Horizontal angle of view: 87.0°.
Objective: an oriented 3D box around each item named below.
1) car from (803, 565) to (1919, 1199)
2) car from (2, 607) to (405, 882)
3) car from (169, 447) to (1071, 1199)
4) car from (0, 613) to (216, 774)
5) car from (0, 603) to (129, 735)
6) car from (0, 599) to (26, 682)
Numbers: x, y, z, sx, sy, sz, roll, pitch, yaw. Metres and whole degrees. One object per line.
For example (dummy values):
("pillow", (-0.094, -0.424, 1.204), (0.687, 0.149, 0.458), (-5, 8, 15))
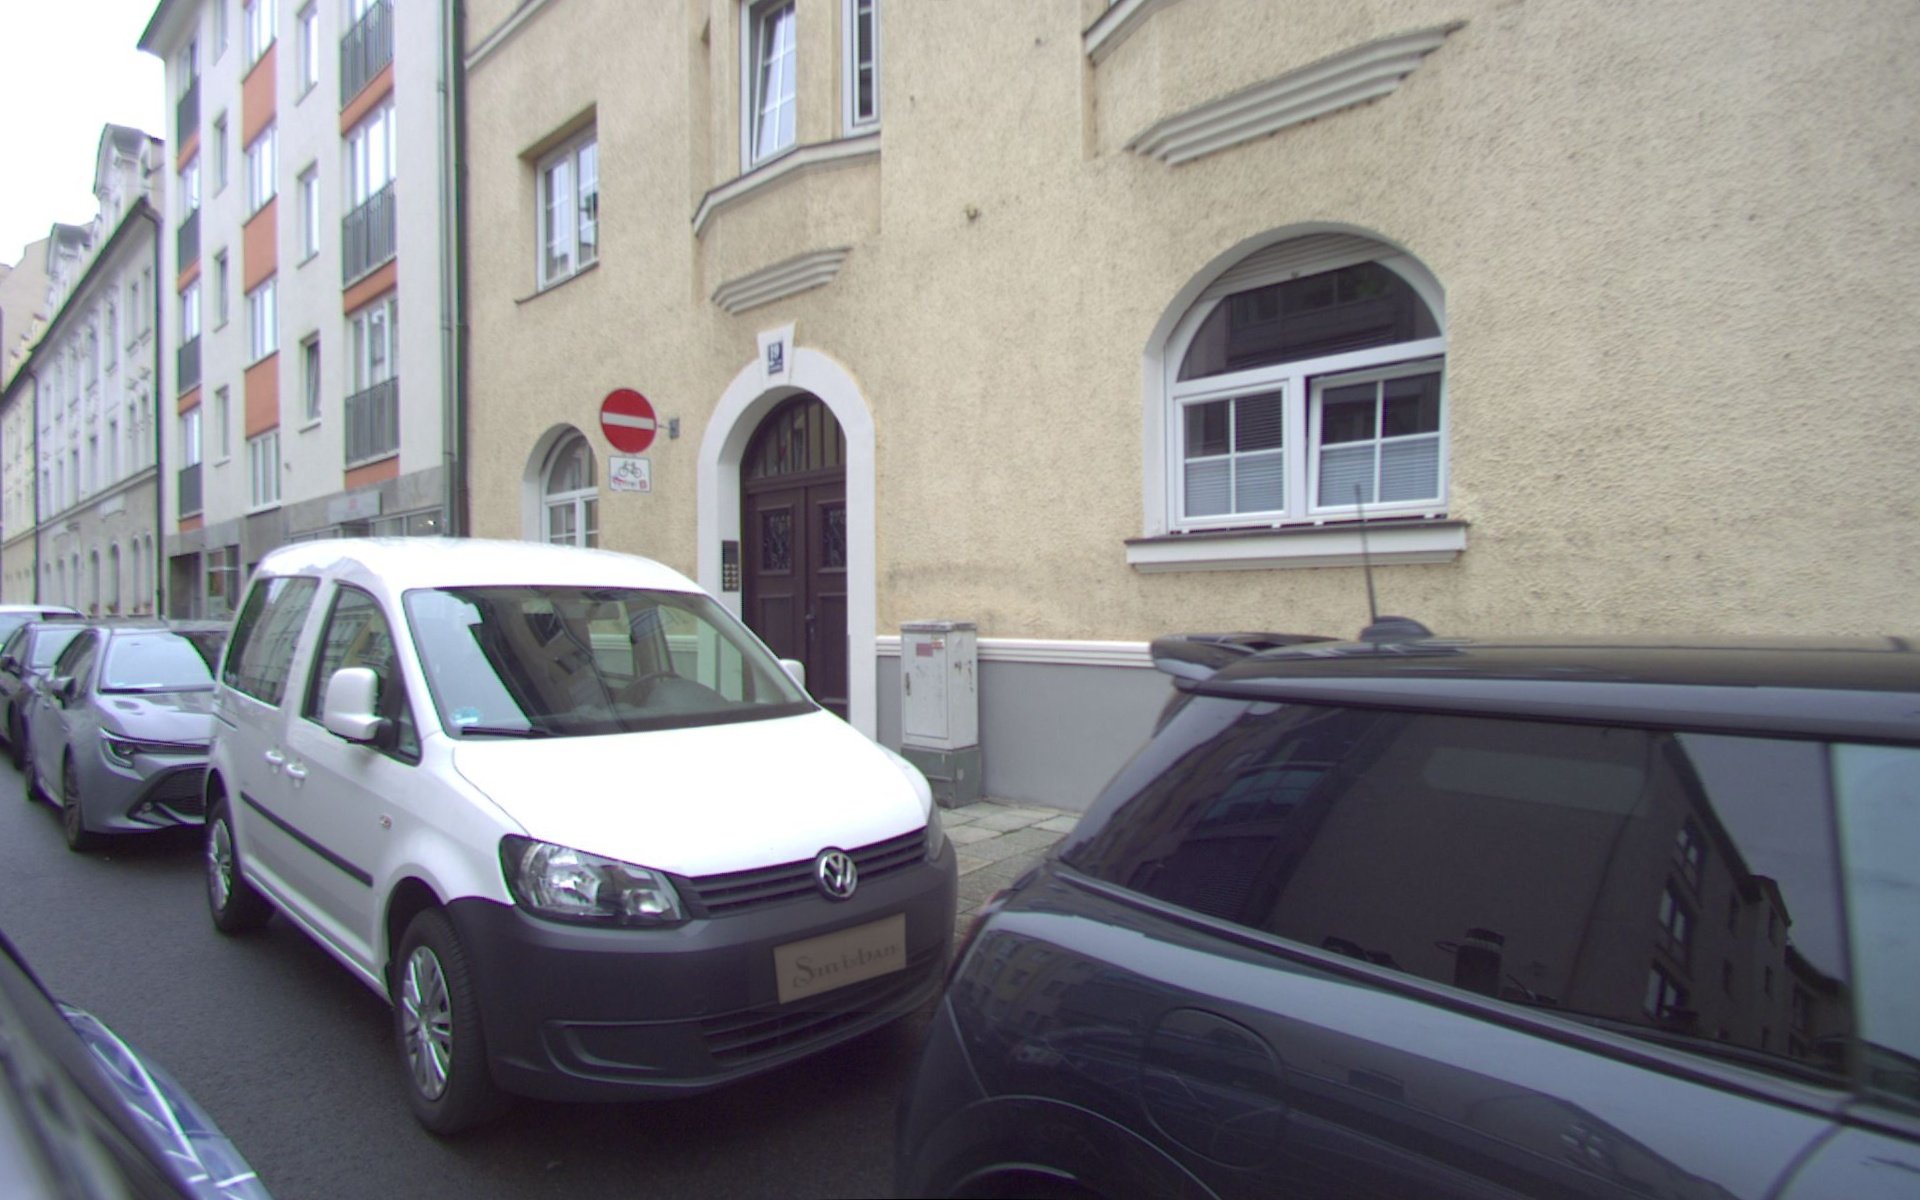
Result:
("car", (1.679, 0.715, 1.054), (3.733, 1.422, 1.634), (0, -2, 41))
("car", (-5.846, 0.838, 7.622), (4.111, 1.486, 1.654), (0, -2, 42))
("car", (-1.770, 0.603, 4.186), (4.250, 1.802, 1.705), (0, -2, 43))
("car", (-9.750, 0.925, 11.222), (3.840, 1.486, 1.611), (-1, -3, 41))
("car", (-13.269, 0.898, 14.059), (4.303, 1.617, 1.763), (-1, -3, 38))
("car", (-23.925, 0.930, 24.125), (4.907, 1.875, 1.925), (-1, -3, 42))
